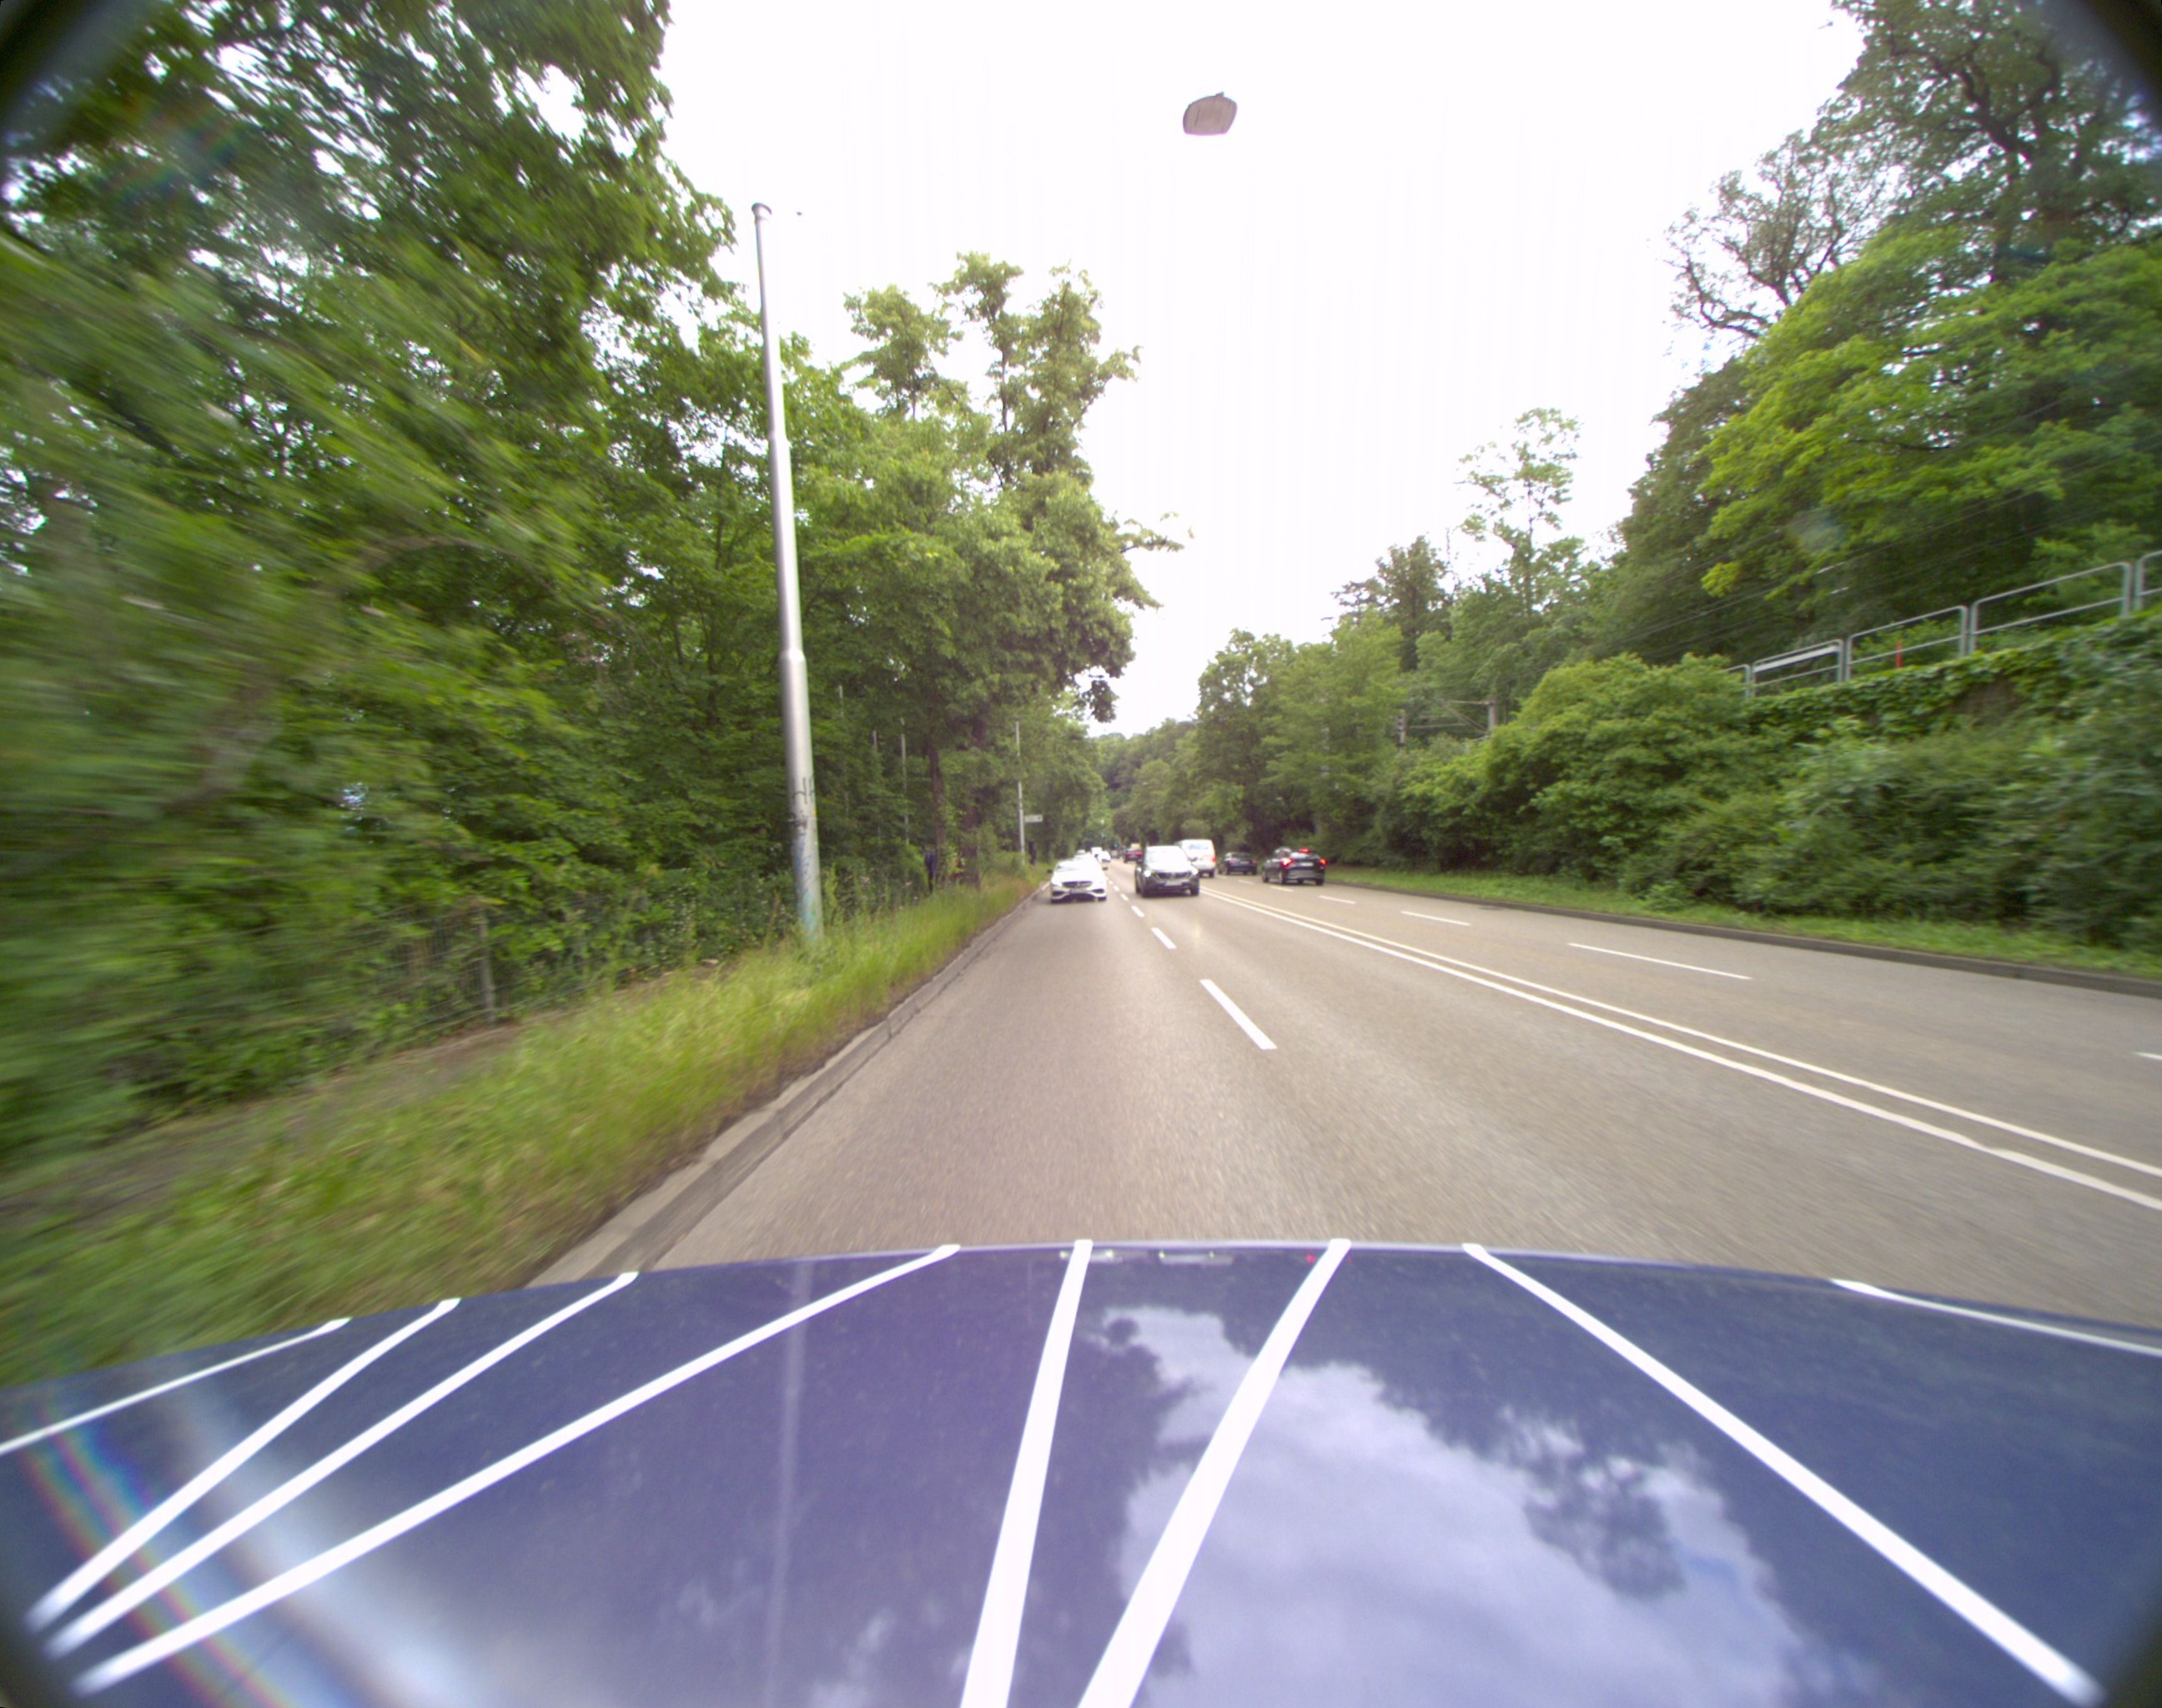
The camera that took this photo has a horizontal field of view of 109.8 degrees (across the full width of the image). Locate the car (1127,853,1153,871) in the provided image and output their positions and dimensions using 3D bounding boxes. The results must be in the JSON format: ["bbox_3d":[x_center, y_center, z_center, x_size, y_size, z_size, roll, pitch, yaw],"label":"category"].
[{"bbox_3d":[4.953,0.643,64.246,1.918,1.459,4.529,-1,0,1],"label":"car"}]

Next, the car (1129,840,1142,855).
[{"bbox_3d":[9.301,-1.062,129.550,1.892,2.541,4.914,0,1,1],"label":"car"}]

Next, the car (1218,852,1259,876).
[{"bbox_3d":[9.174,0.551,44.519,1.646,1.305,3.999,0,1,1],"label":"car"}]

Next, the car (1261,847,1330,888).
[{"bbox_3d":[8.881,0.517,31.804,1.740,1.587,4.068,0,0,0],"label":"car"}]

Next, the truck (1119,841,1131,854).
[{"bbox_3d":[8.405,-1.223,145.791,2.182,2.397,6.465,1,1,2],"label":"truck"}]

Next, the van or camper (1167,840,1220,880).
[{"bbox_3d":[6.016,0.271,41.185,1.999,2.002,5.367,-1,1,-1],"label":"van or camper"}]

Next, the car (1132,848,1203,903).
[{"bbox_3d":[2.839,0.642,25.682,1.871,1.653,4.192,-1,1,0],"label":"car"}]

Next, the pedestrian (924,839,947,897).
[{"bbox_3d":[-4.477,0.434,23.425,0.520,1.743,0.524,-3,1,-3],"label":"pedestrian"}]

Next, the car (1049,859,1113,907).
[{"bbox_3d":[-0.001,0.910,25.346,1.897,1.289,4.327,-3,1,0],"label":"car"}]

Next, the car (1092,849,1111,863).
[{"bbox_3d":[2.680,0.287,100.394,1.699,1.733,3.996,-3,1,-11],"label":"car"}]

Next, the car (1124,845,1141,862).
[{"bbox_3d":[6.109,-0.030,90.127,1.814,1.651,4.834,3,-3,4],"label":"car"}]

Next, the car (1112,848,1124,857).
[{"bbox_3d":[6.815,-0.270,140.052,1.844,1.457,4.465,-6,1,0],"label":"car"}]

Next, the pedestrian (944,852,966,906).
[{"bbox_3d":[-3.973,0.789,23.994,0.610,1.688,0.548,1,1,-3],"label":"pedestrian"}]
